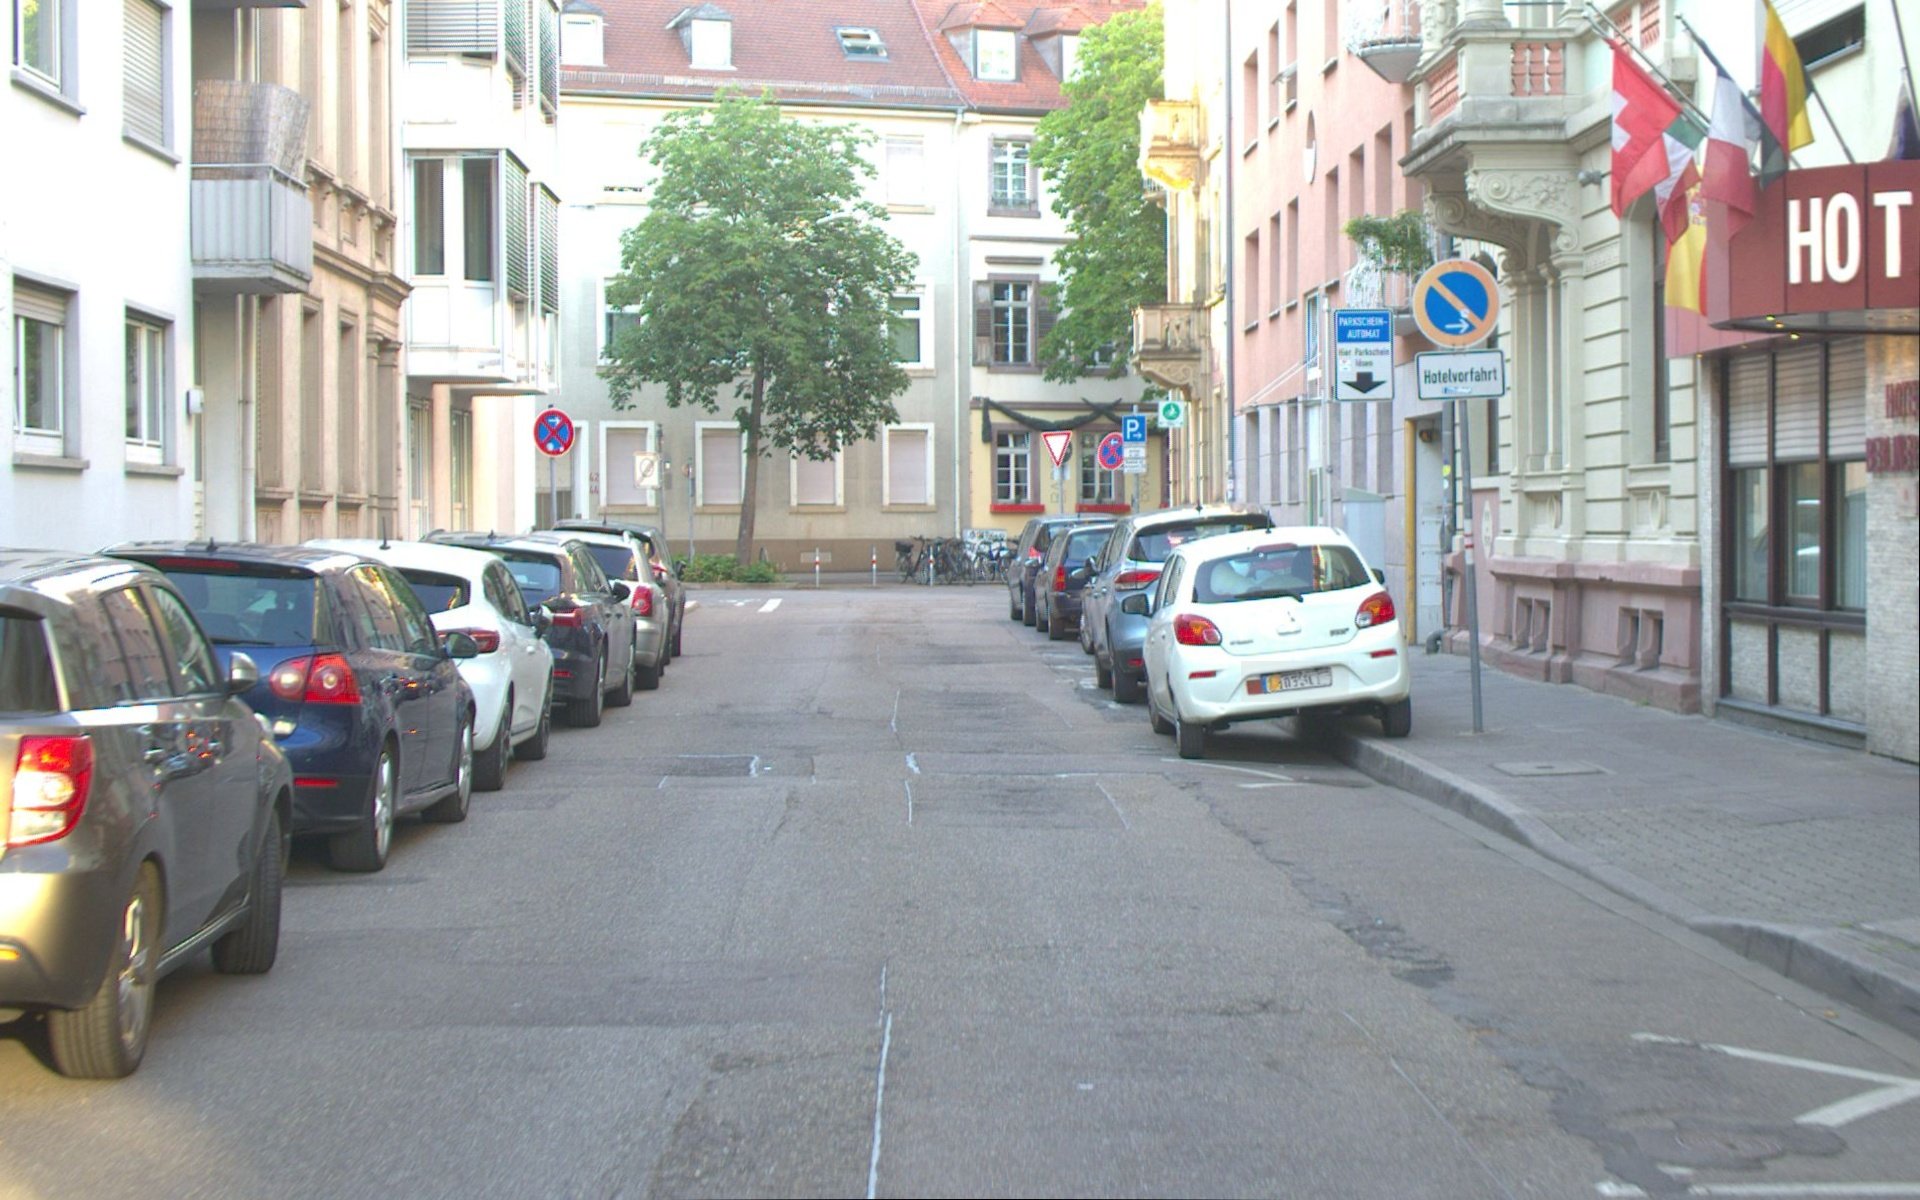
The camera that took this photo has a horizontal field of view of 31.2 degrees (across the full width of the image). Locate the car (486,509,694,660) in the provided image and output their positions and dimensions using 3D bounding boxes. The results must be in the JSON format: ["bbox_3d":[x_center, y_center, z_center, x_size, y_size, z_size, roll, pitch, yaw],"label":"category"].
[{"bbox_3d":[-4.286,-0.225,40.354,1.993,1.657,3.978,-1,1,0],"label":"car"}]

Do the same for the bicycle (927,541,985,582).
[{"bbox_3d":[-0.098,-0.924,82.205,0.518,0.891,1.725,-3,5,-34],"label":"bicycle"}]

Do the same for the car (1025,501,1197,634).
[{"bbox_3d":[1.998,-0.474,46.658,1.993,1.703,4.001,-1,1,-2],"label":"car"}]

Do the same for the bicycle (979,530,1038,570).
[{"bbox_3d":[1.154,-1.199,82.817,0.518,0.945,1.725,-2,2,-34],"label":"bicycle"}]

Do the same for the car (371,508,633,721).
[{"bbox_3d":[-3.649,0.051,28.027,1.614,1.565,4.304,0,2,-1],"label":"car"}]

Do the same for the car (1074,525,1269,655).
[{"bbox_3d":[2.378,-0.151,39.530,1.993,1.379,3.707,-1,1,0],"label":"car"}]

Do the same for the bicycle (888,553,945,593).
[{"bbox_3d":[-1.066,-0.660,83.653,0.518,0.945,1.725,-1,1,-34],"label":"bicycle"}]

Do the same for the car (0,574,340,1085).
[{"bbox_3d":[-3.187,0.596,11.127,1.683,1.327,4.132,-1,1,-1],"label":"car"}]

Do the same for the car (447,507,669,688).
[{"bbox_3d":[-3.913,-0.084,34.108,1.993,1.661,4.410,-1,2,-4],"label":"car"}]

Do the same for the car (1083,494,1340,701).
[{"bbox_3d":[2.198,-0.071,31.085,1.993,1.726,4.059,-1,1,0],"label":"car"}]

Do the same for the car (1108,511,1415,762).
[{"bbox_3d":[2.077,0.195,24.620,1.662,1.453,3.759,-6,2,-1],"label":"car"}]

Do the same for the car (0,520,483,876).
[{"bbox_3d":[-3.461,0.387,16.958,1.728,1.503,3.831,0,2,-1],"label":"car"}]

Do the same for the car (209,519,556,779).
[{"bbox_3d":[-3.595,0.242,21.981,1.630,1.467,3.755,0,2,-1],"label":"car"}]

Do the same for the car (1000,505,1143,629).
[{"bbox_3d":[1.636,-0.530,51.687,1.993,1.755,4.000,-1,1,0],"label":"car"}]
